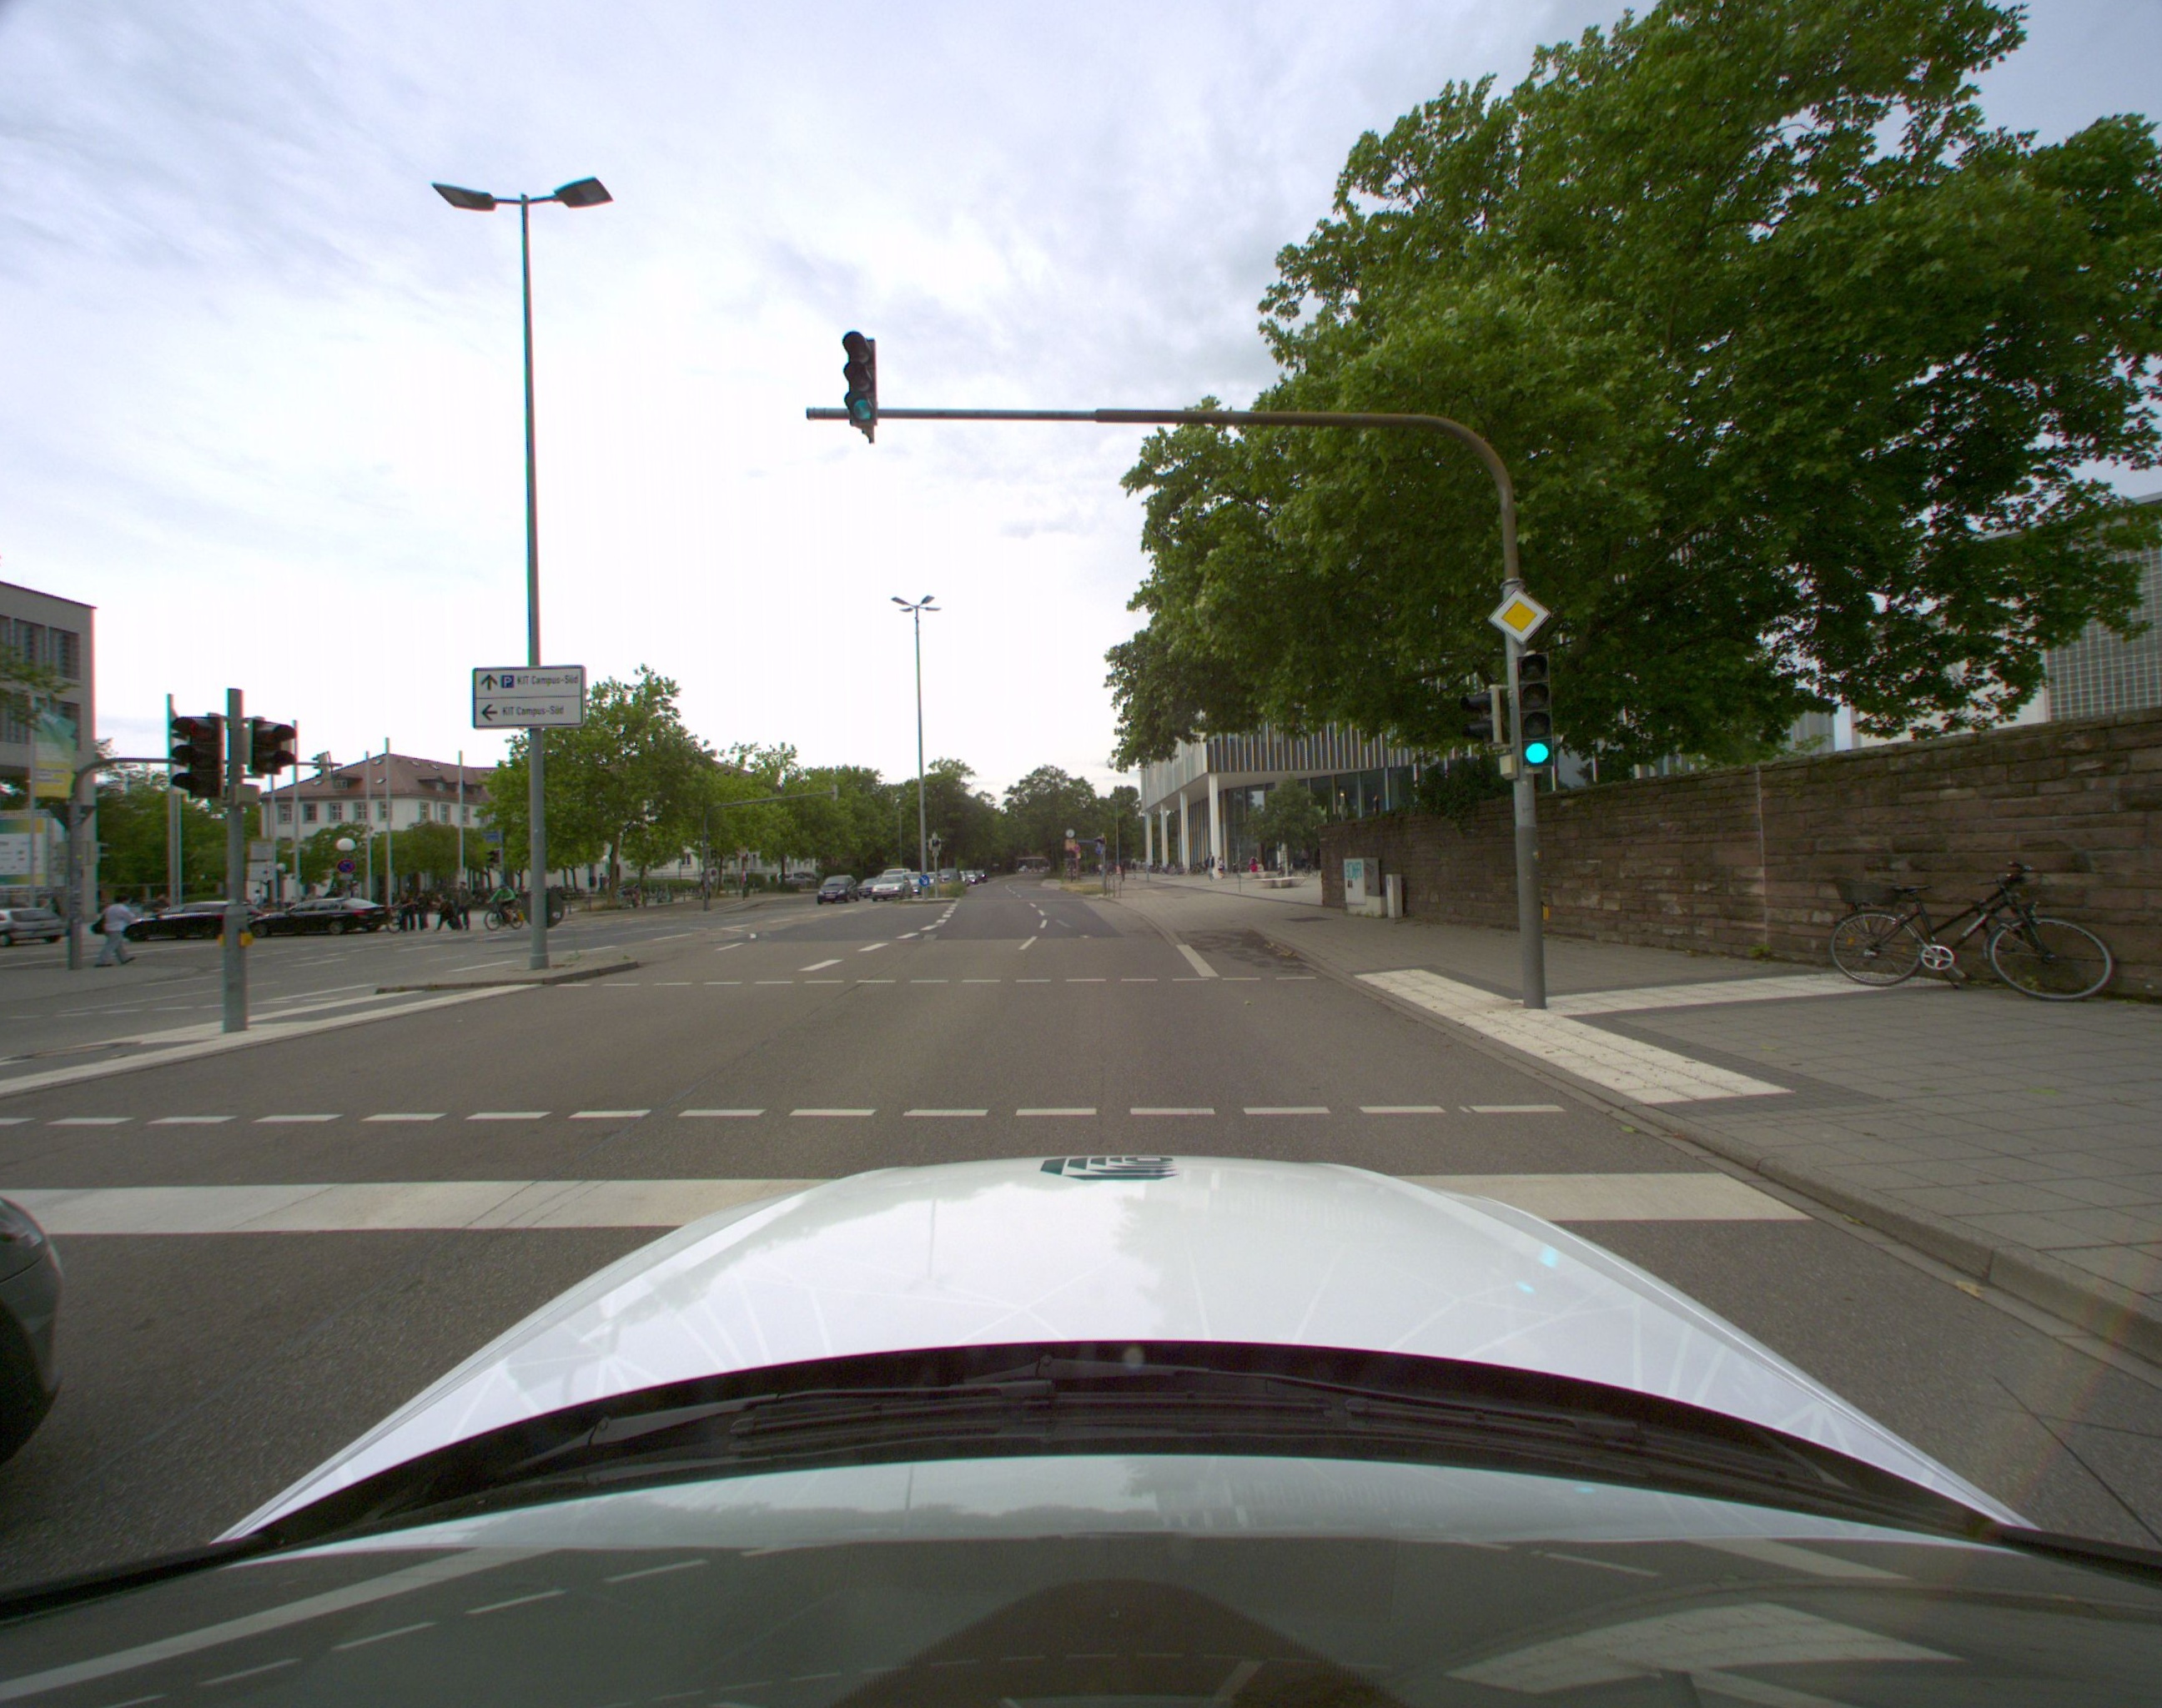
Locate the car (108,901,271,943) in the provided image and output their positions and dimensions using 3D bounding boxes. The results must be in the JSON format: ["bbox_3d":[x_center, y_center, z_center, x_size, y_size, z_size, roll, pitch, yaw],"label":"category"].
[{"bbox_3d":[-35.148,2.651,32.228,3.982,1.472,1.996,0,-1,-6],"label":"car"}]

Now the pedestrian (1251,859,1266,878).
[{"bbox_3d":[11.683,0.950,53.516,0.885,1.193,0.848,-3,-1,12],"label":"pedestrian"}]

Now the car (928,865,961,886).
[{"bbox_3d":[-11.788,1.839,70.623,1.986,1.687,4.948,-1,-1,1],"label":"car"}]

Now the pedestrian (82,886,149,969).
[{"bbox_3d":[-25.161,1.906,21.240,0.664,2.059,0.852,-3,-1,-2],"label":"pedestrian"}]

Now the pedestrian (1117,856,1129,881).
[{"bbox_3d":[3.518,1.201,68.280,0.840,2.013,0.894,-4,-1,-1],"label":"pedestrian"}]

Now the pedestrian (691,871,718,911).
[{"bbox_3d":[-19.688,1.902,42.606,0.892,2.014,1.008,-2,-1,-4],"label":"pedestrian"}]

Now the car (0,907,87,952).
[{"bbox_3d":[-42.137,2.932,31.803,3.979,1.580,1.997,0,-1,-4],"label":"car"}]

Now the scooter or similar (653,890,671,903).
[{"bbox_3d":[-25.511,2.590,49.563,0.405,0.694,1.289,0,-1,1],"label":"scooter or similar"}]

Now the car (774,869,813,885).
[{"bbox_3d":[-30.281,2.431,85.943,3.579,1.602,1.649,0,-1,-5],"label":"car"}]

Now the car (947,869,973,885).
[{"bbox_3d":[-11.495,2.162,77.827,1.899,1.465,4.906,0,-1,-2],"label":"car"}]

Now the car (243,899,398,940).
[{"bbox_3d":[-30.369,2.587,32.635,4.136,1.472,1.996,0,-1,-6],"label":"car"}]

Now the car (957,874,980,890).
[{"bbox_3d":[-11.993,2.970,87.062,1.989,1.547,4.176,-4,-1,-2],"label":"car"}]

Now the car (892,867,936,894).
[{"bbox_3d":[-11.221,1.783,55.047,1.950,1.584,4.256,-3,0,1],"label":"car"}]

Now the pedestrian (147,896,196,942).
[{"bbox_3d":[-41.547,2.957,37.215,1.000,2.014,1.016,-2,-1,-3],"label":"pedestrian"}]

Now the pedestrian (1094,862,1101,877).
[{"bbox_3d":[2.365,2.198,114.413,0.823,2.014,0.718,-2,-1,-7],"label":"pedestrian"}]

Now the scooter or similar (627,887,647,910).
[{"bbox_3d":[-23.856,2.385,43.763,0.359,1.140,1.318,-3,-1,-2],"label":"scooter or similar"}]

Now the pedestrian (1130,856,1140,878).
[{"bbox_3d":[5.177,1.233,78.073,0.841,2.014,0.893,-2,-1,-5],"label":"pedestrian"}]

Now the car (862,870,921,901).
[{"bbox_3d":[-10.713,1.759,46.312,1.984,1.529,4.279,-2,-1,4],"label":"car"}]

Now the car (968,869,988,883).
[{"bbox_3d":[-12.443,2.619,98.807,1.898,1.593,4.512,-3,-1,-2],"label":"car"}]

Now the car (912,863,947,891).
[{"bbox_3d":[-11.681,1.733,63.079,1.988,2.014,3.996,-3,-1,-2],"label":"car"}]

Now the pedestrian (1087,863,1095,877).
[{"bbox_3d":[1.430,2.236,114.312,0.924,2.014,1.037,-2,-1,-7],"label":"pedestrian"}]

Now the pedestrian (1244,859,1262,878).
[{"bbox_3d":[11.186,0.959,52.913,0.834,1.206,0.900,-3,-1,32],"label":"pedestrian"}]

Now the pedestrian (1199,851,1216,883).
[{"bbox_3d":[8.180,0.813,52.673,0.840,2.014,0.894,-2,-1,-1],"label":"pedestrian"}]

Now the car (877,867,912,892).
[{"bbox_3d":[-14.460,1.927,63.297,1.766,1.848,4.487,0,-1,-1],"label":"car"}]

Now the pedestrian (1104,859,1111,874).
[{"bbox_3d":[3.740,1.780,114.872,0.822,2.014,0.719,-3,-1,-3],"label":"pedestrian"}]

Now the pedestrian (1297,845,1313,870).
[{"bbox_3d":[18.591,0.325,67.535,1.172,2.062,1.140,-1,-1,18],"label":"pedestrian"}]

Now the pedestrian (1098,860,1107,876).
[{"bbox_3d":[2.806,1.791,105.556,0.924,2.014,1.037,-2,-1,-7],"label":"pedestrian"}]

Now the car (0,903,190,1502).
[{"bbox_3d":[-3.297,0.807,0.367,1.615,1.318,3.707,-2,-1,2],"label":"car"}]

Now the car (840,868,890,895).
[{"bbox_3d":[-14.351,1.815,54.337,1.984,1.620,4.005,-2,-1,4],"label":"car"}]

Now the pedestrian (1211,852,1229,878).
[{"bbox_3d":[10.151,0.798,59.473,0.848,1.836,0.885,-2,-1,-32],"label":"pedestrian"}]

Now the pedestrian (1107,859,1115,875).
[{"bbox_3d":[3.898,1.632,105.427,0.923,2.014,1.038,-2,-1,-3],"label":"pedestrian"}]

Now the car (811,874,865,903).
[{"bbox_3d":[-13.911,1.948,46.885,1.845,1.463,3.698,-2,-1,2],"label":"car"}]

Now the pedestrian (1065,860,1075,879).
[{"bbox_3d":[-1.280,1.776,93.869,0.910,2.013,0.853,-4,1,-3],"label":"pedestrian"}]

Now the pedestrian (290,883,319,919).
[{"bbox_3d":[-45.400,2.744,47.645,0.795,2.014,1.090,-2,-1,-19],"label":"pedestrian"}]

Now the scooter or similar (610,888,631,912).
[{"bbox_3d":[-23.831,2.364,42.142,0.359,1.140,1.318,-3,-1,-2],"label":"scooter or similar"}]
